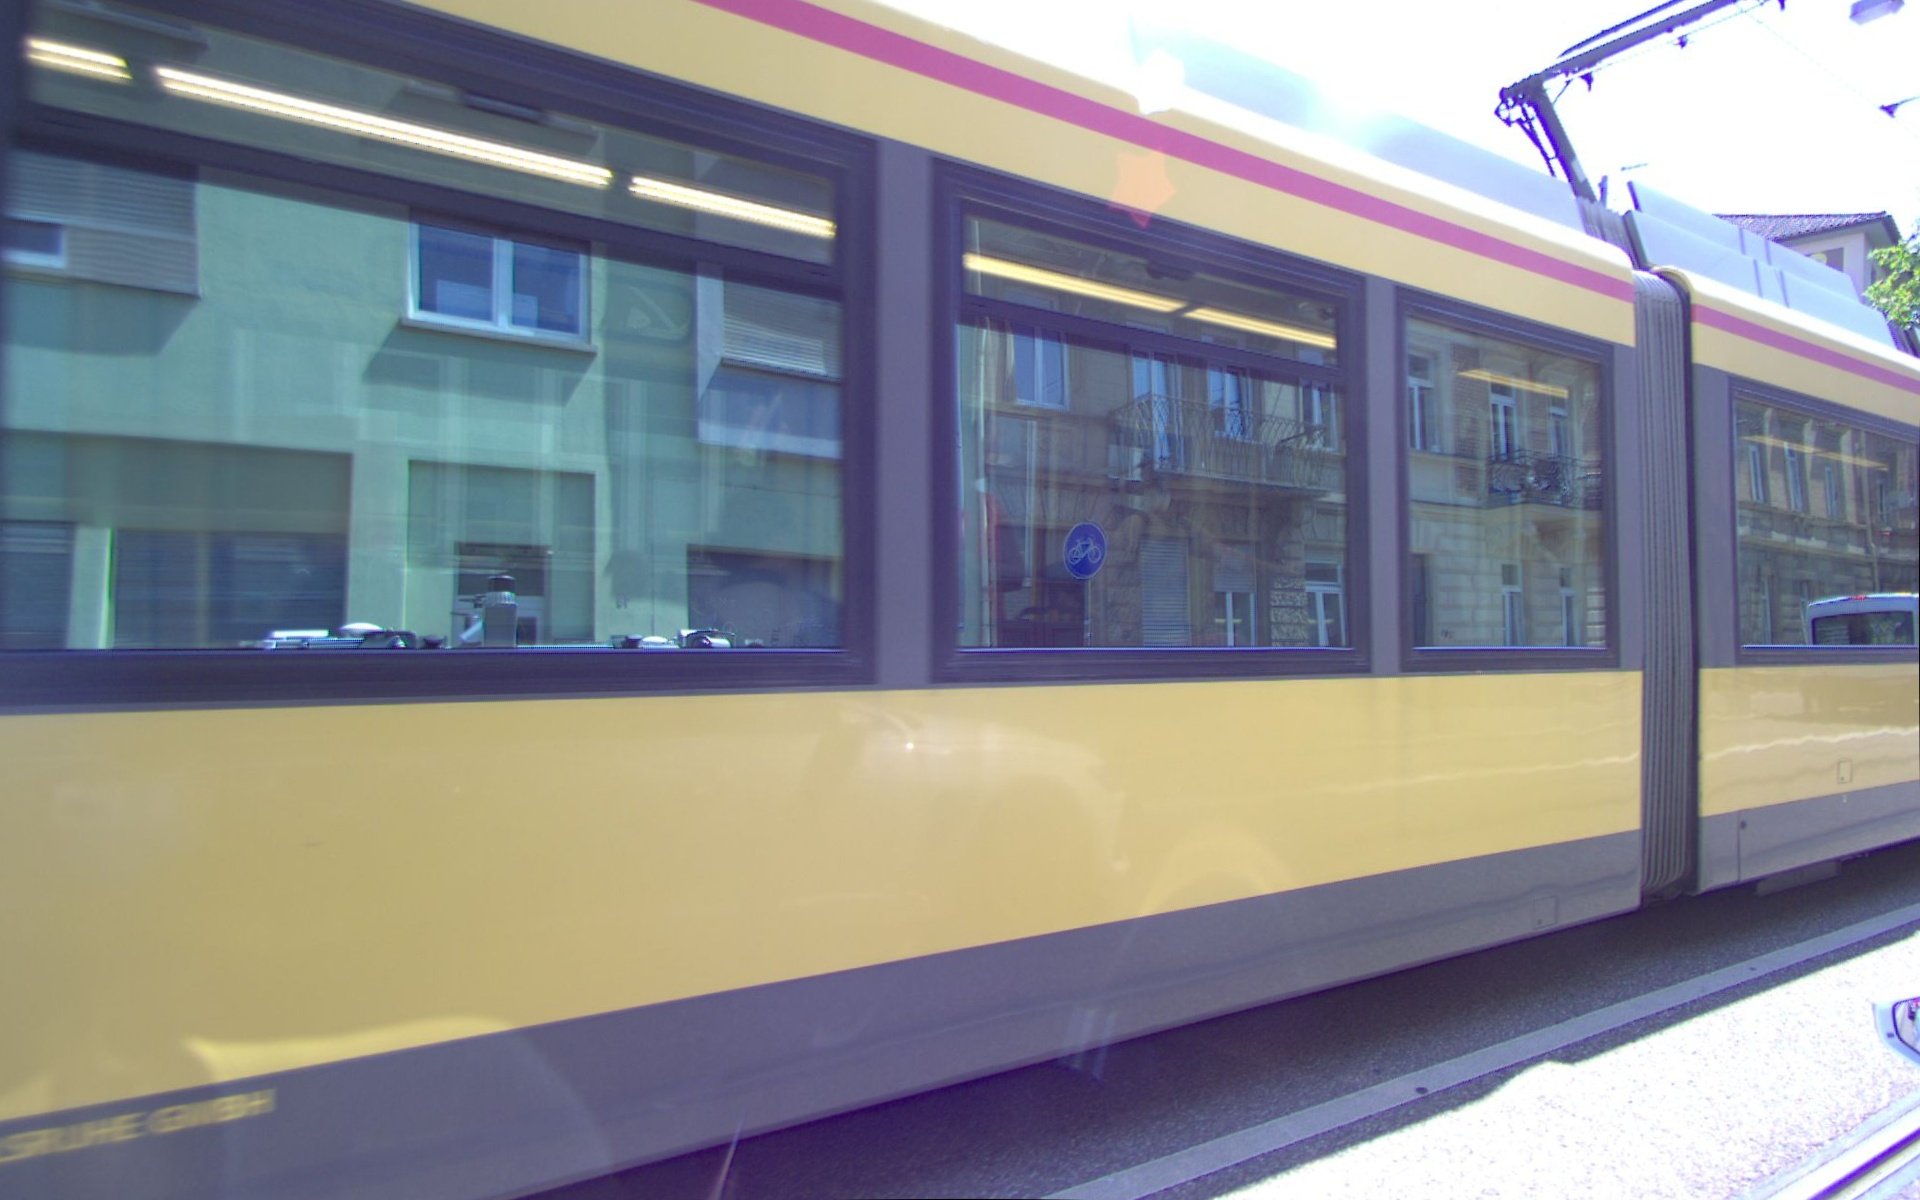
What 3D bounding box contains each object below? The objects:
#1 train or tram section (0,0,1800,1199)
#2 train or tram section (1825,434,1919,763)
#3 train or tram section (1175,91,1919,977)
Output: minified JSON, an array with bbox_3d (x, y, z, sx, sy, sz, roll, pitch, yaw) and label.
[{"bbox_3d":[-2.564,-0.443,2.569,13.266,3.628,2.946,1,0,-31],"label":"train or tram section"},{"bbox_3d":[16.639,0.124,13.910,13.266,3.628,2.946,1,0,-31],"label":"train or tram section"},{"bbox_3d":[7.898,-0.134,8.775,13.266,3.628,2.946,1,0,-31],"label":"train or tram section"}]
